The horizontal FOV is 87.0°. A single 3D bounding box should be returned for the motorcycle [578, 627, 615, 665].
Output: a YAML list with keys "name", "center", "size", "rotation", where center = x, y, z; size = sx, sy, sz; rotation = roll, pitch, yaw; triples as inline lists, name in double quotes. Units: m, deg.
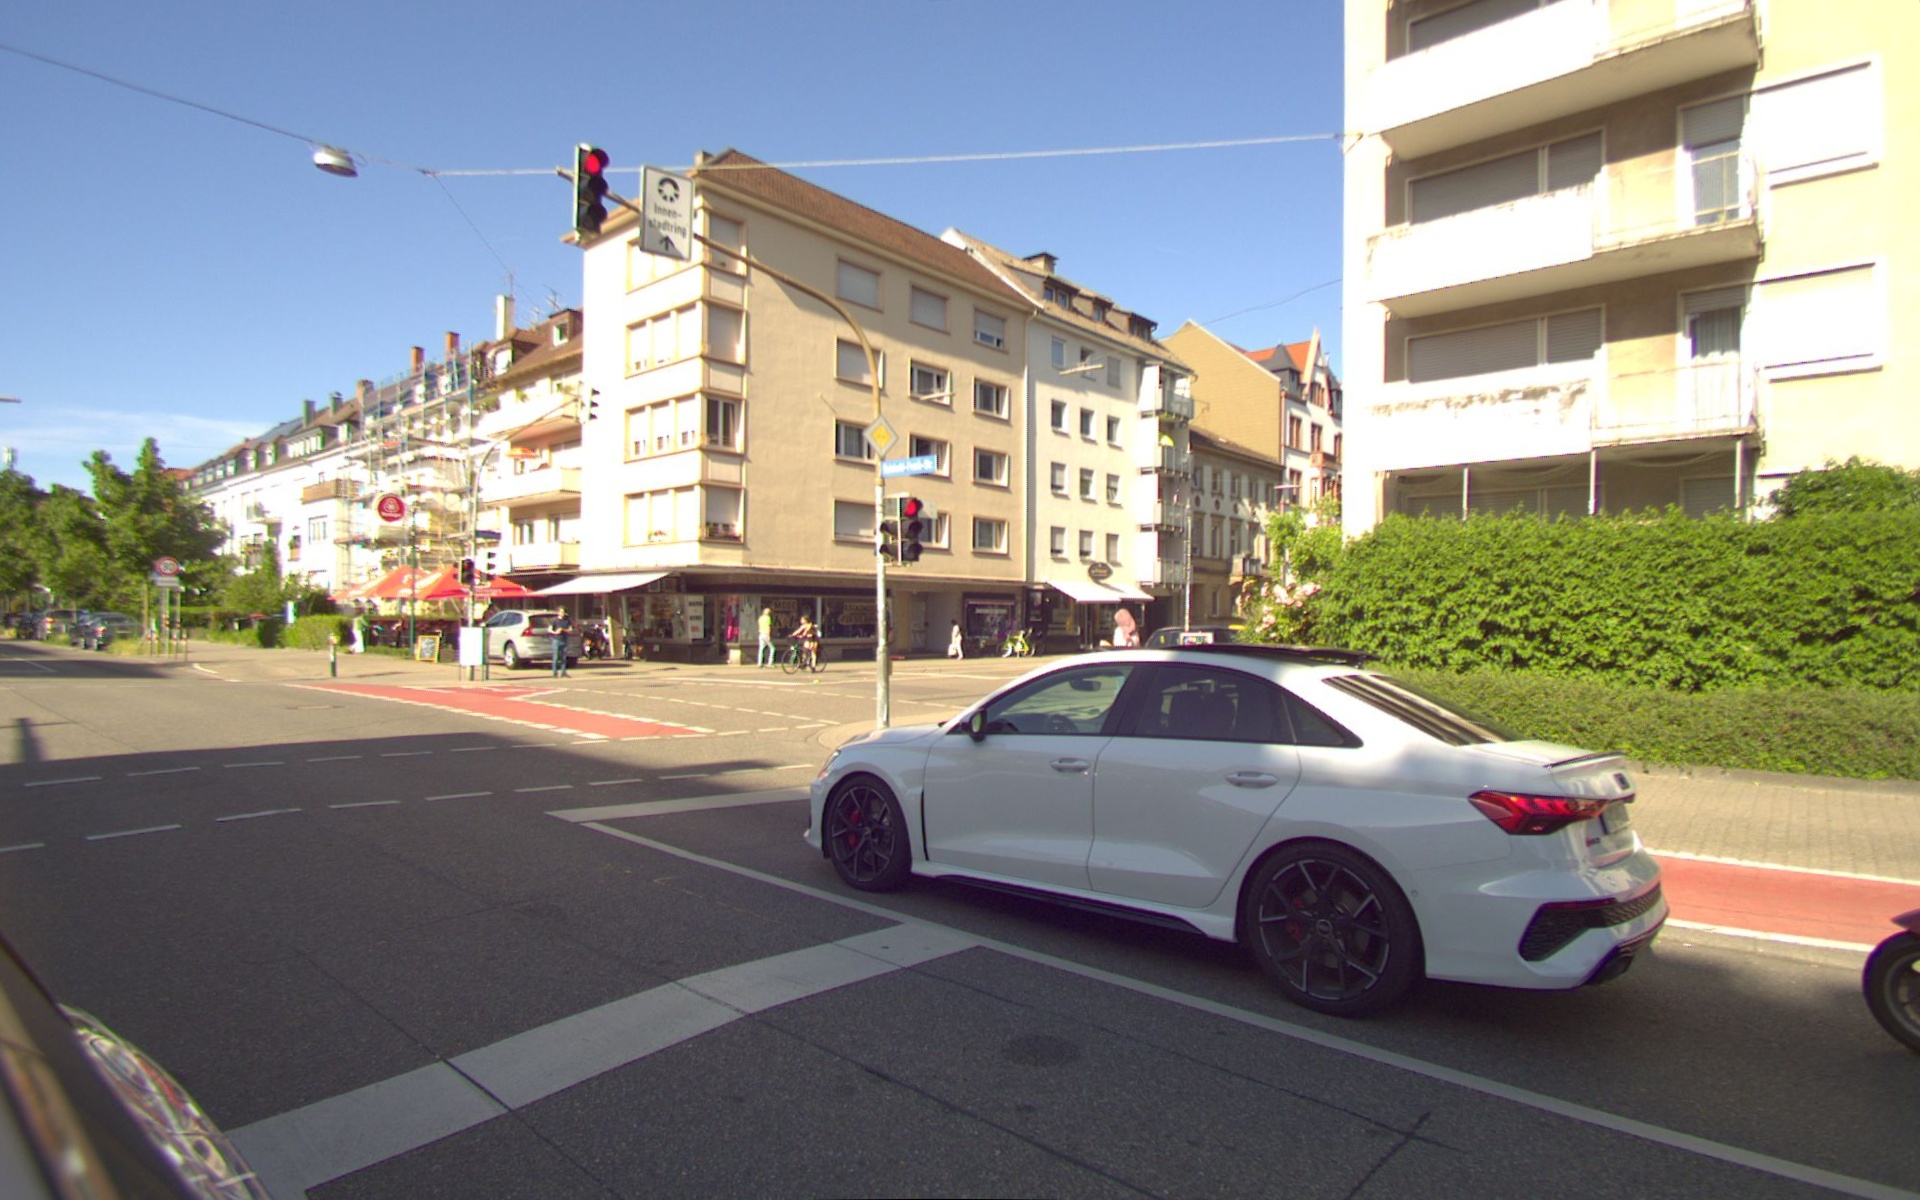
- name: "motorcycle"
  center: [-13.606, 1.696, 37.893]
  size: [1.763, 1.378, 0.562]
  rotation: [-1, -2, 44]

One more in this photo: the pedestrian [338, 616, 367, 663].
- name: "pedestrian"
  center: [-20.543, 1.324, 34.244]
  size: [0.535, 1.521, 0.635]
  rotation: [-1, 2, 40]

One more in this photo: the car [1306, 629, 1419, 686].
- name: "car"
  center: [11.794, 1.613, 29.479]
  size: [1.834, 1.519, 4.447]
  rotation: [-1, -2, 39]

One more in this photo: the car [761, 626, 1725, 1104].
- name: "car"
  center: [1.069, 0.893, 5.230]
  size: [4.504, 1.417, 1.680]
  rotation: [-1, -4, 41]

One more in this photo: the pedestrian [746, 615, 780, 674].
- name: "pedestrian"
  center: [-5.948, 1.321, 30.555]
  size: [0.683, 1.747, 0.718]
  rotation: [0, -1, 40]

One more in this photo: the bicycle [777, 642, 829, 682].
- name: "bicycle"
  center: [-4.472, 1.750, 28.877]
  size: [0.449, 1.085, 1.545]
  rotation: [-1, -2, 40]

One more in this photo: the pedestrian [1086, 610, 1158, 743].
- name: "pedestrian"
  center: [2.107, 0.970, 13.177]
  size: [0.682, 1.671, 0.650]
  rotation: [-1, -2, 43]

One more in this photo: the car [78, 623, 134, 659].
- name: "car"
  center: [-34.151, 1.629, 40.453]
  size: [3.093, 1.366, 1.305]
  rotation: [-1, -2, 43]

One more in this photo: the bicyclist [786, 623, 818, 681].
- name: "bicyclist"
  center: [-4.482, 1.477, 28.786]
  size: [0.578, 1.619, 0.677]
  rotation: [-1, -2, 40]

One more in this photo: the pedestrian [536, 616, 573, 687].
- name: "pedestrian"
  center: [-10.062, 1.271, 25.115]
  size: [0.661, 1.731, 0.585]
  rotation: [2, -1, -39]

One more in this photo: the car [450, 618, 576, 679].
- name: "car"
  center: [-12.967, 1.350, 29.256]
  size: [4.304, 1.634, 1.741]
  rotation: [-1, -2, 43]

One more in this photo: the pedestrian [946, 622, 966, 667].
- name: "pedestrian"
  center: [-0.147, 1.664, 37.942]
  size: [0.719, 1.658, 0.563]
  rotation: [0, -1, 1]

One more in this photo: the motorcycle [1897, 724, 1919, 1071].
- name: "motorcycle"
  center: [3.997, 0.995, 2.867]
  size: [0.442, 1.130, 1.934]
  rotation: [5, -4, -44]

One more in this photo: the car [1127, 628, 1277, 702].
- name: "car"
  center: [5.327, 1.358, 21.997]
  size: [1.726, 1.432, 3.791]
  rotation: [-4, -3, 38]
